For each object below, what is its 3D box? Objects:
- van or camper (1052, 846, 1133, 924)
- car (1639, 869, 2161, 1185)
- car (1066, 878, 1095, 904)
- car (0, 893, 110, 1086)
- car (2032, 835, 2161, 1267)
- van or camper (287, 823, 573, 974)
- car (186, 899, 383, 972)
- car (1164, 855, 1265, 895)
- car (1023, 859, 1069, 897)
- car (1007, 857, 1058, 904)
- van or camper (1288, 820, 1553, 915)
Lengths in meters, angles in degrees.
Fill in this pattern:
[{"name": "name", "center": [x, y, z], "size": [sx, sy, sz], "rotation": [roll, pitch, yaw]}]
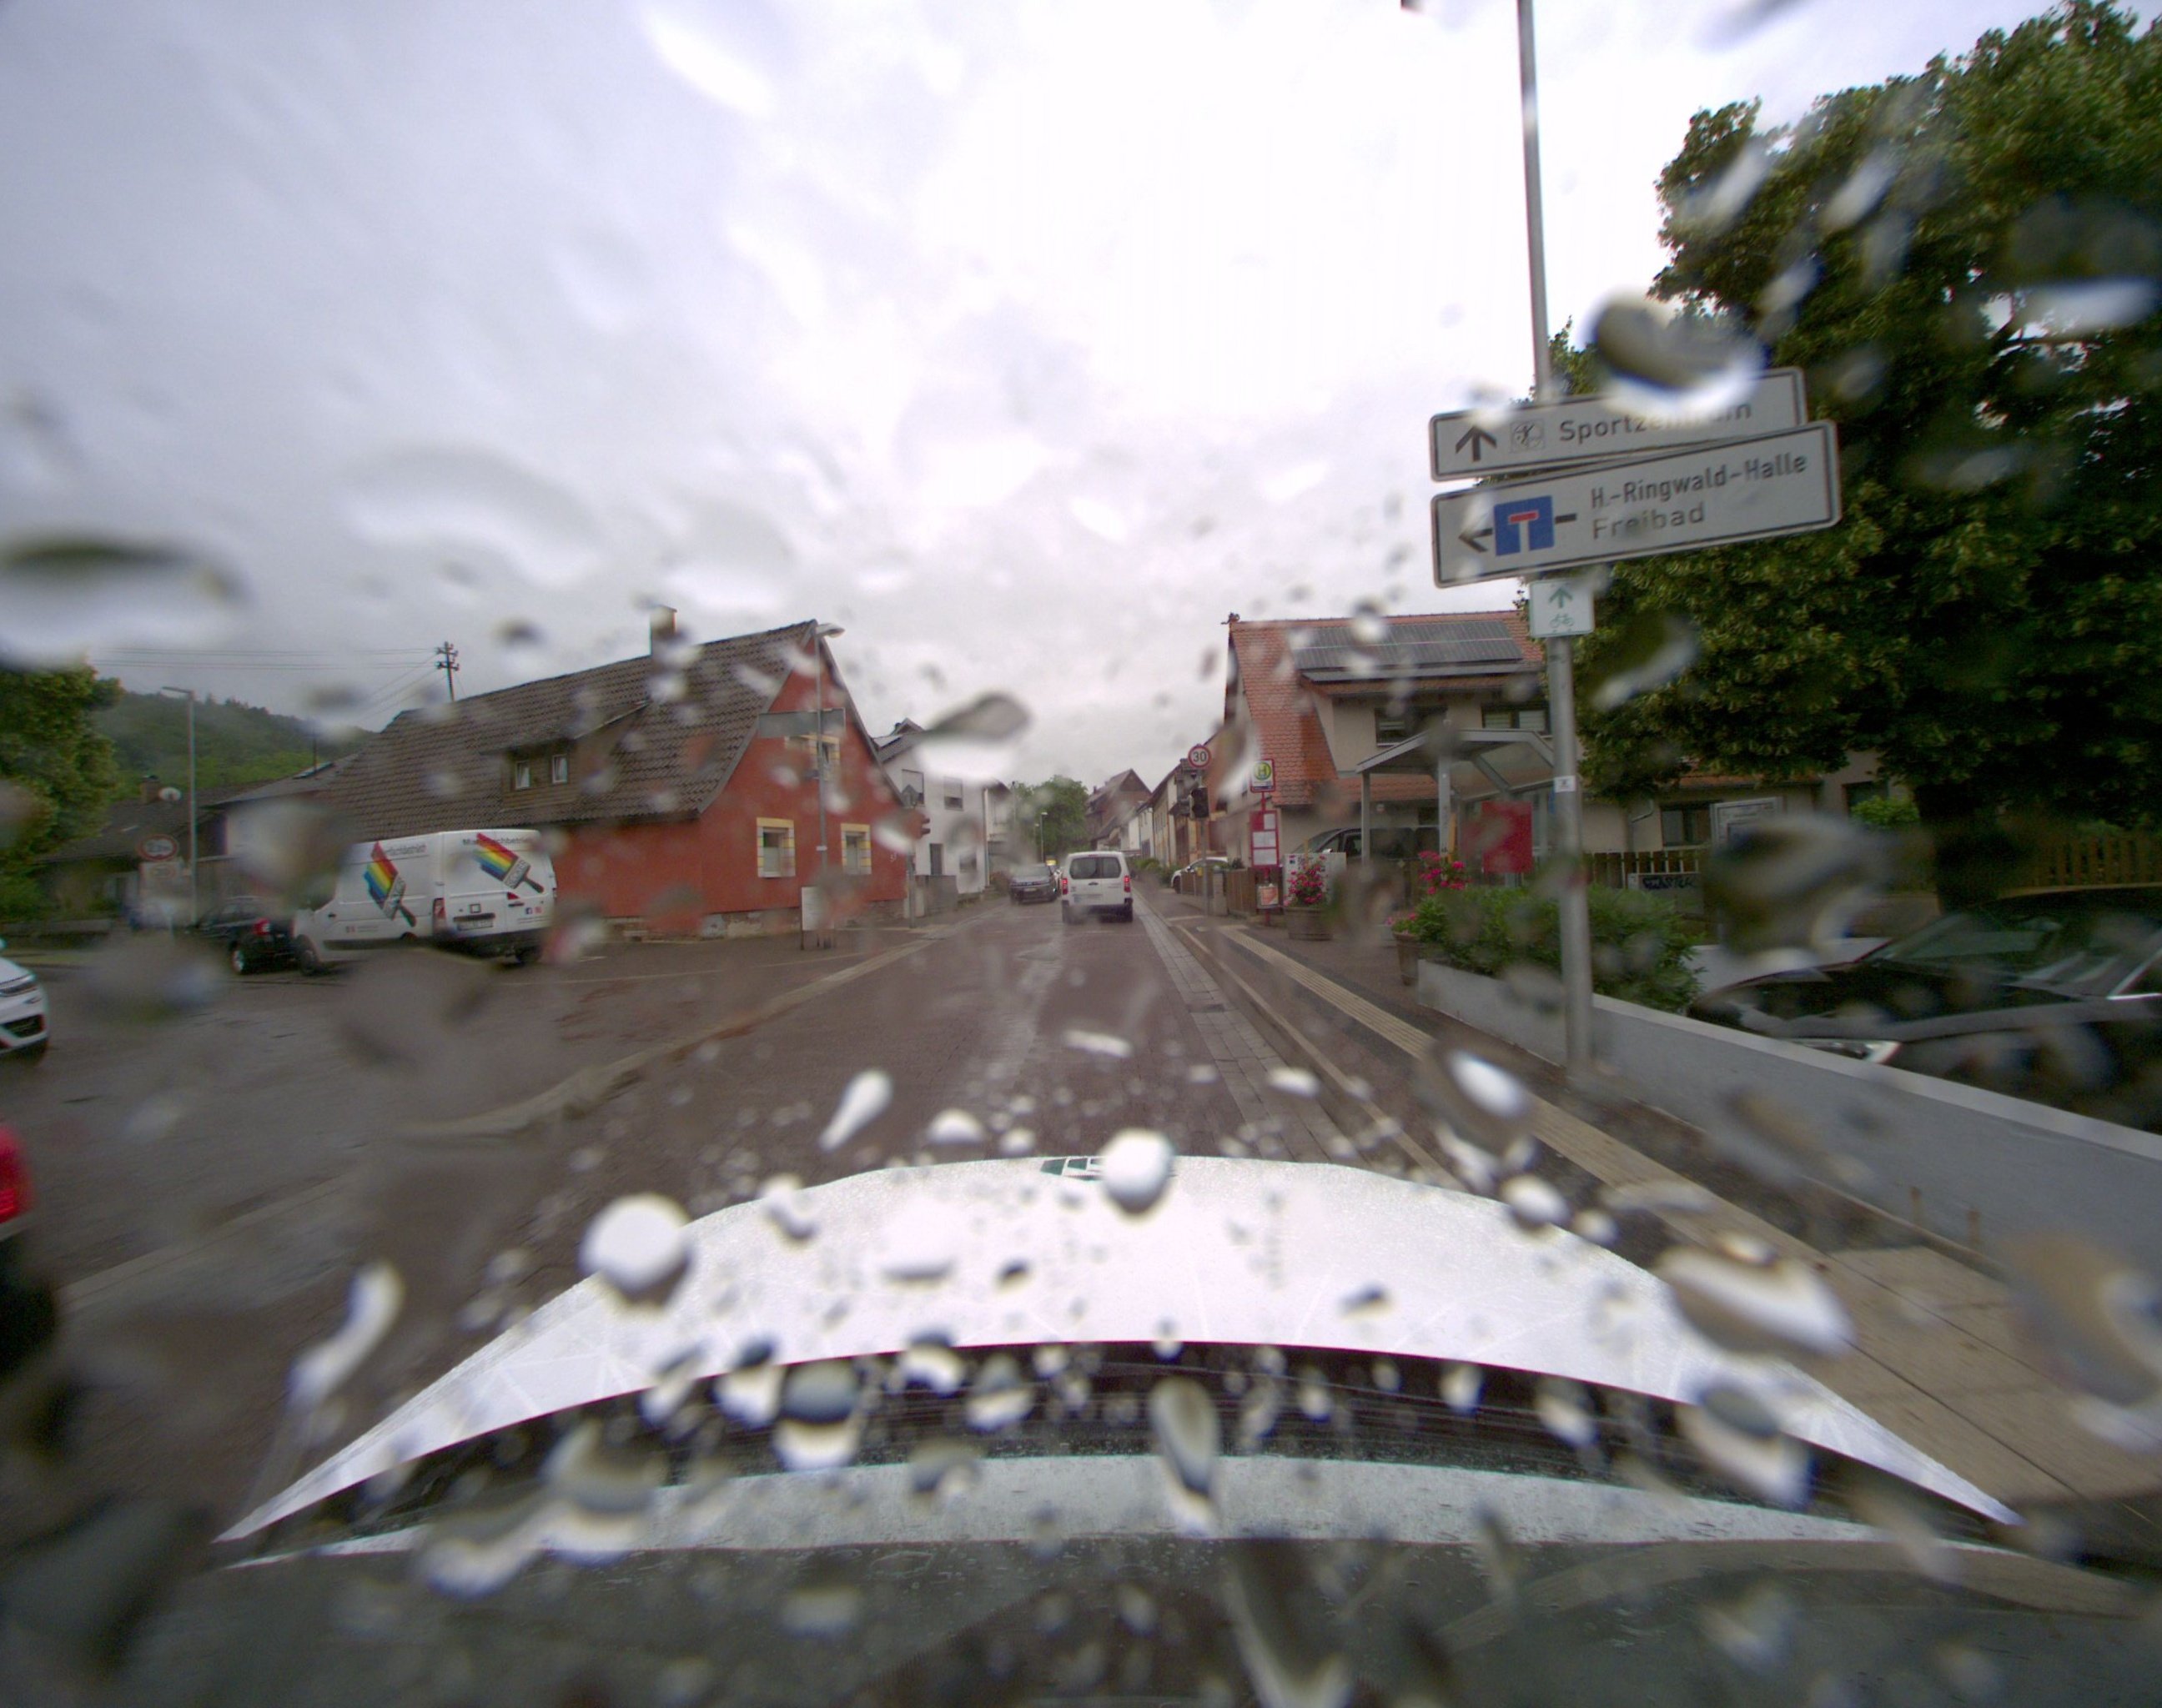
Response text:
[{"name": "van or camper", "center": [0.350, 0.771, 21.811], "size": [1.936, 1.851, 4.002], "rotation": [-1, -1, 2]}, {"name": "car", "center": [5.787, 0.841, 4.615], "size": [3.927, 1.378, 1.756], "rotation": [-3, -1, 9]}, {"name": "car", "center": [-0.072, 2.431, 53.738], "size": [1.685, 1.565, 3.929], "rotation": [-3, -2, -3]}, {"name": "car", "center": [-11.022, 1.201, 7.178], "size": [4.407, 1.550, 1.893], "rotation": [-2, 0, 22]}, {"name": "car", "center": [5.784, 0.653, 2.038], "size": [4.037, 1.589, 1.865], "rotation": [-2, -1, 16]}, {"name": "van or camper", "center": [-12.272, 0.801, 15.299], "size": [5.094, 2.435, 2.225], "rotation": [-3, 0, 27]}, {"name": "car", "center": [-17.195, 1.714, 17.568], "size": [3.953, 1.281, 1.848], "rotation": [-3, 0, 27]}, {"name": "car", "center": [5.784, 0.863, 35.849], "size": [1.883, 1.590, 4.574], "rotation": [-1, 1, -30]}, {"name": "car", "center": [-1.714, 1.191, 41.072], "size": [1.741, 1.636, 4.422], "rotation": [-5, -2, 3]}, {"name": "car", "center": [-2.026, 1.088, 34.798], "size": [1.806, 1.779, 4.017], "rotation": [-3, 0, 0]}, {"name": "van or camper", "center": [7.336, 0.286, 17.939], "size": [5.055, 1.923, 1.875], "rotation": [0, -1, -2]}]
